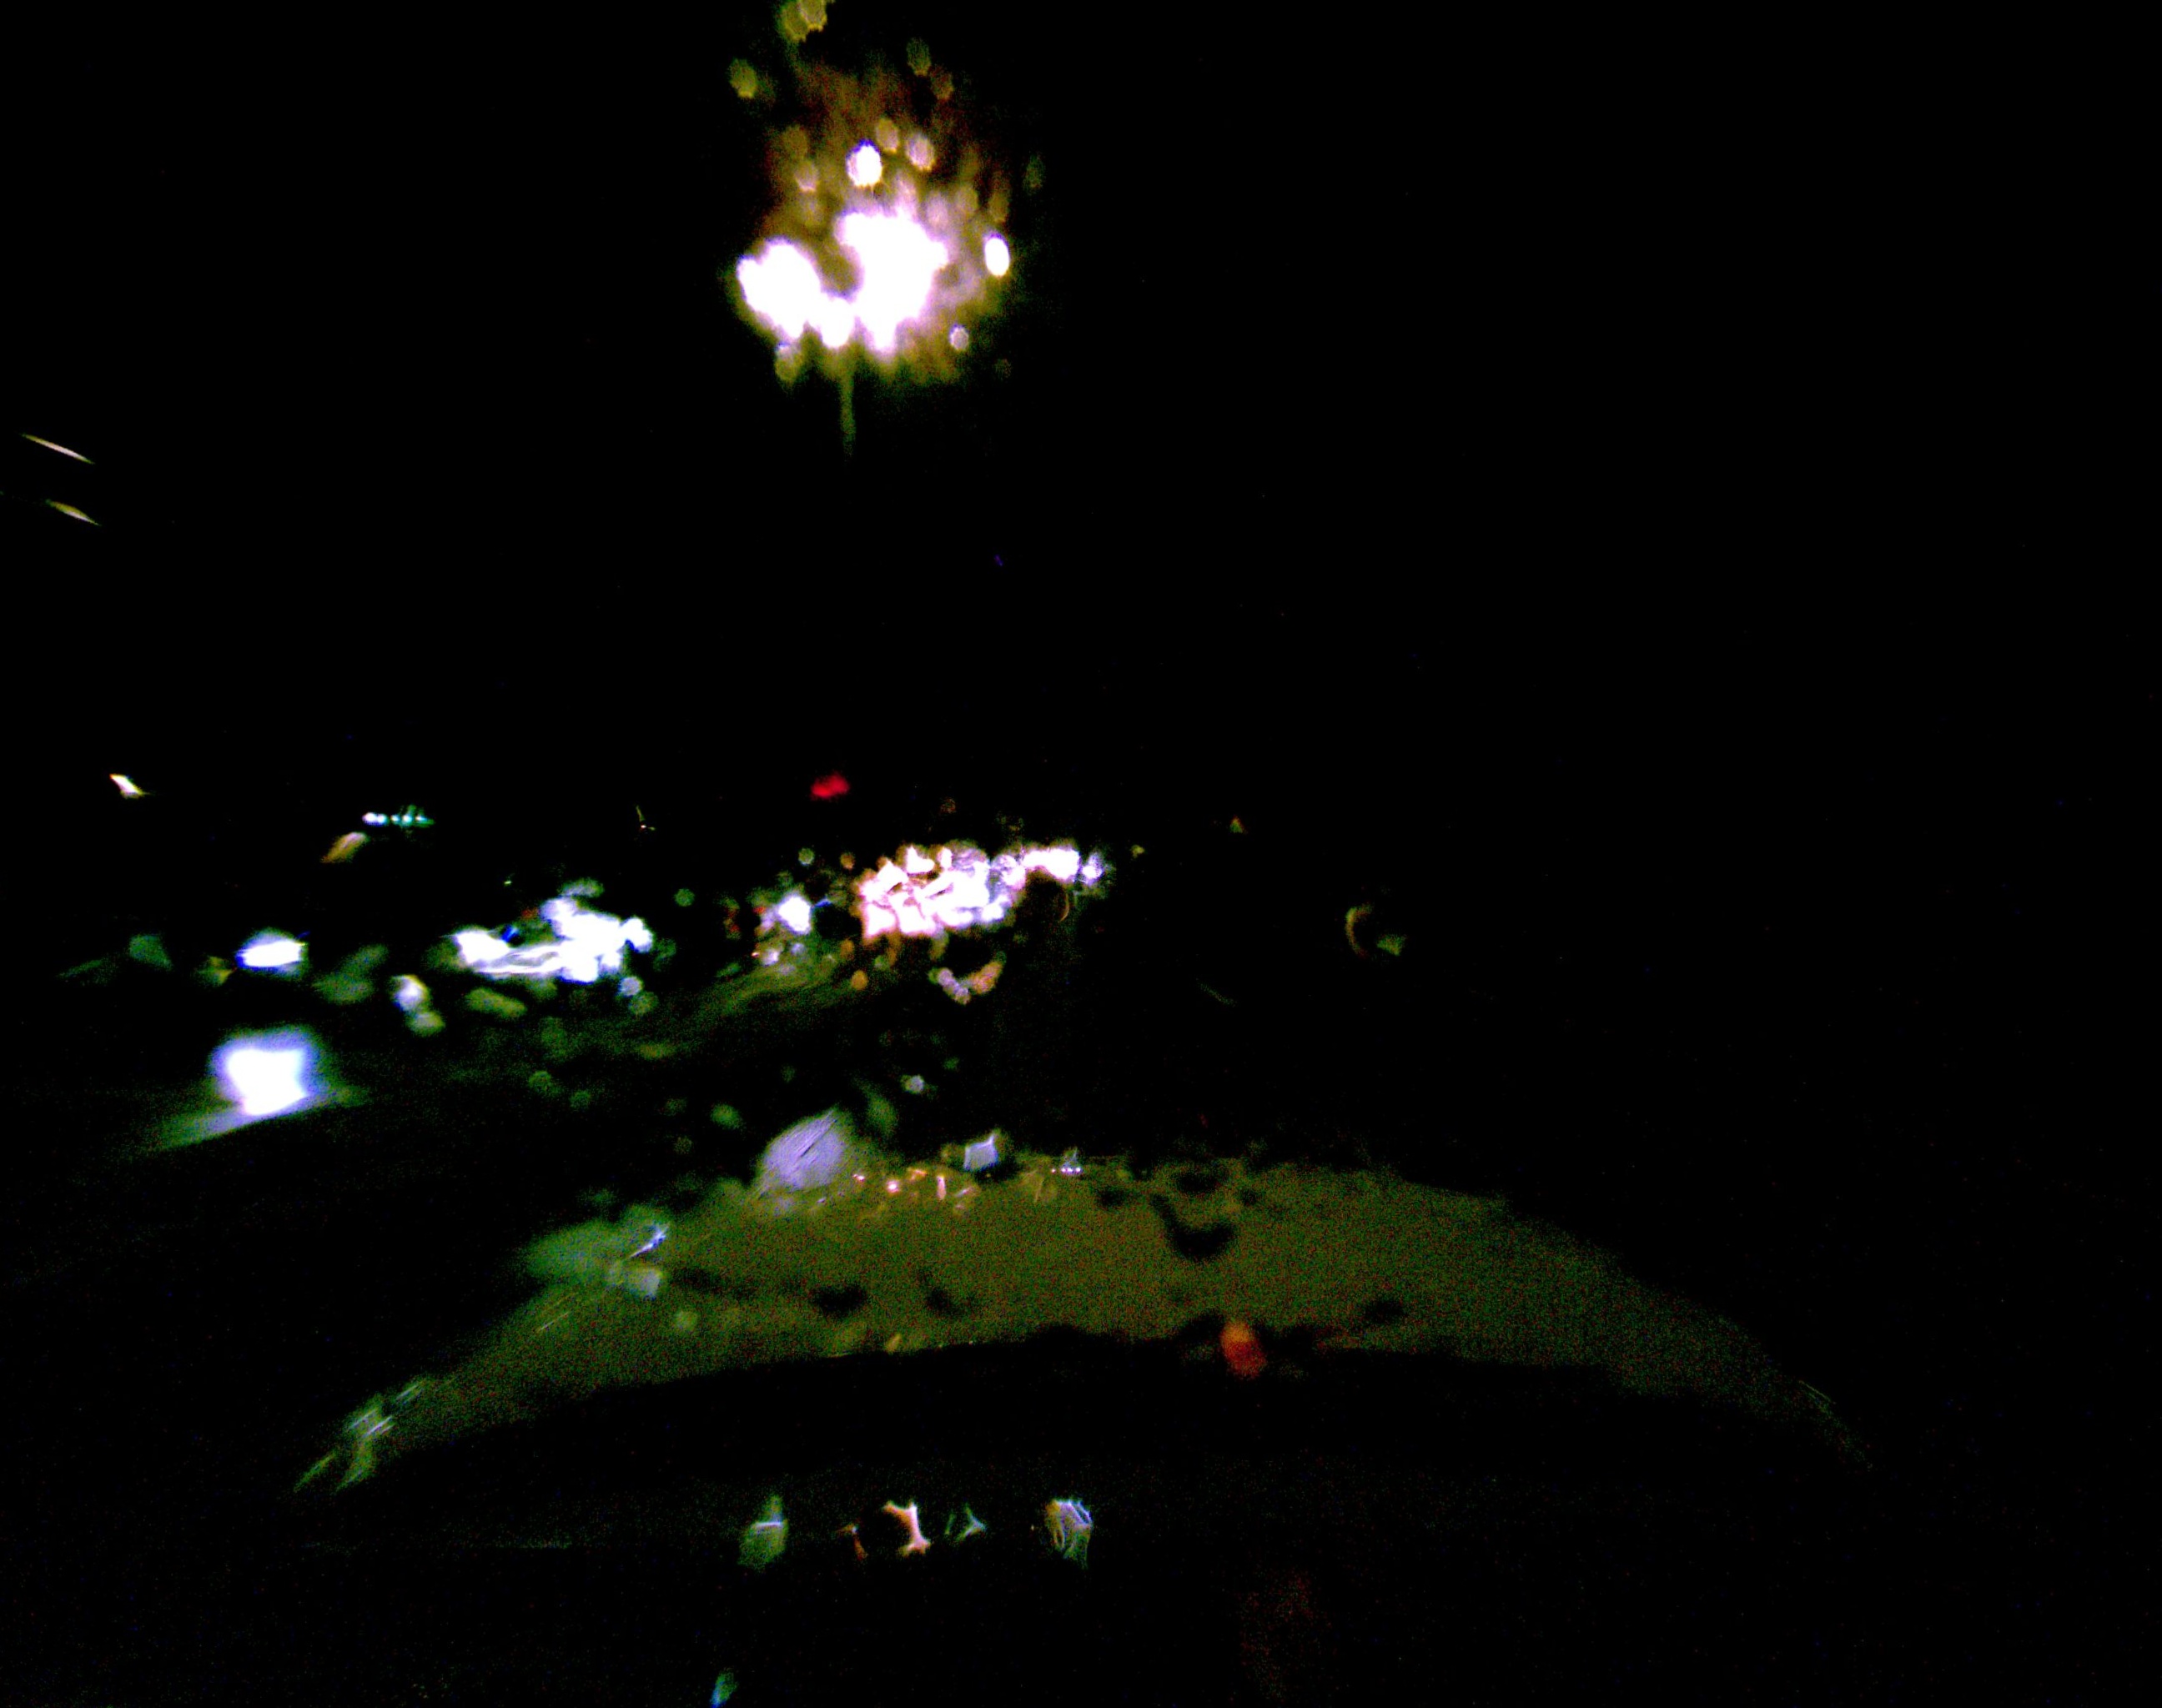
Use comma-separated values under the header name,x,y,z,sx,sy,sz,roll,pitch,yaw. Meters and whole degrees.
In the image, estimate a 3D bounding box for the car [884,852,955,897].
name,x,y,z,sx,sy,sz,roll,pitch,yaw
car,-7.692,0.935,39.287,2.144,2.014,5.000,0,0,4

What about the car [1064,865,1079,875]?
name,x,y,z,sx,sy,sz,roll,pitch,yaw
car,-1.608,2.599,134.607,2.101,1.575,4.685,0,0,4

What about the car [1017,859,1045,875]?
name,x,y,z,sx,sy,sz,roll,pitch,yaw
car,-5.023,1.275,82.347,2.073,1.543,4.905,-1,0,5

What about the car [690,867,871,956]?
name,x,y,z,sx,sy,sz,roll,pitch,yaw
car,-5.940,1.072,16.783,1.949,1.571,4.468,0,-1,2

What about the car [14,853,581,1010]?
name,x,y,z,sx,sy,sz,roll,pitch,yaw
car,-9.419,0.792,10.718,2.350,1.556,5.161,0,0,2

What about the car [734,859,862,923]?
name,x,y,z,sx,sy,sz,roll,pitch,yaw
car,-8.400,1.032,24.648,1.984,1.746,4.504,0,0,4

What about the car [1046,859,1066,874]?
name,x,y,z,sx,sy,sz,roll,pitch,yaw
car,-3.189,1.580,105.409,1.984,1.865,5.327,-1,0,5

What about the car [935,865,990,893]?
name,x,y,z,sx,sy,sz,roll,pitch,yaw
car,-7.159,1.505,49.882,2.171,1.558,5.211,-1,0,5

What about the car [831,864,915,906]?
name,x,y,z,sx,sy,sz,roll,pitch,yaw
car,-8.006,1.165,31.663,1.956,1.529,3.694,0,0,6

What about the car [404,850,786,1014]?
name,x,y,z,sx,sy,sz,roll,pitch,yaw
car,-5.944,0.862,10.952,1.986,1.698,5.014,0,-1,2
